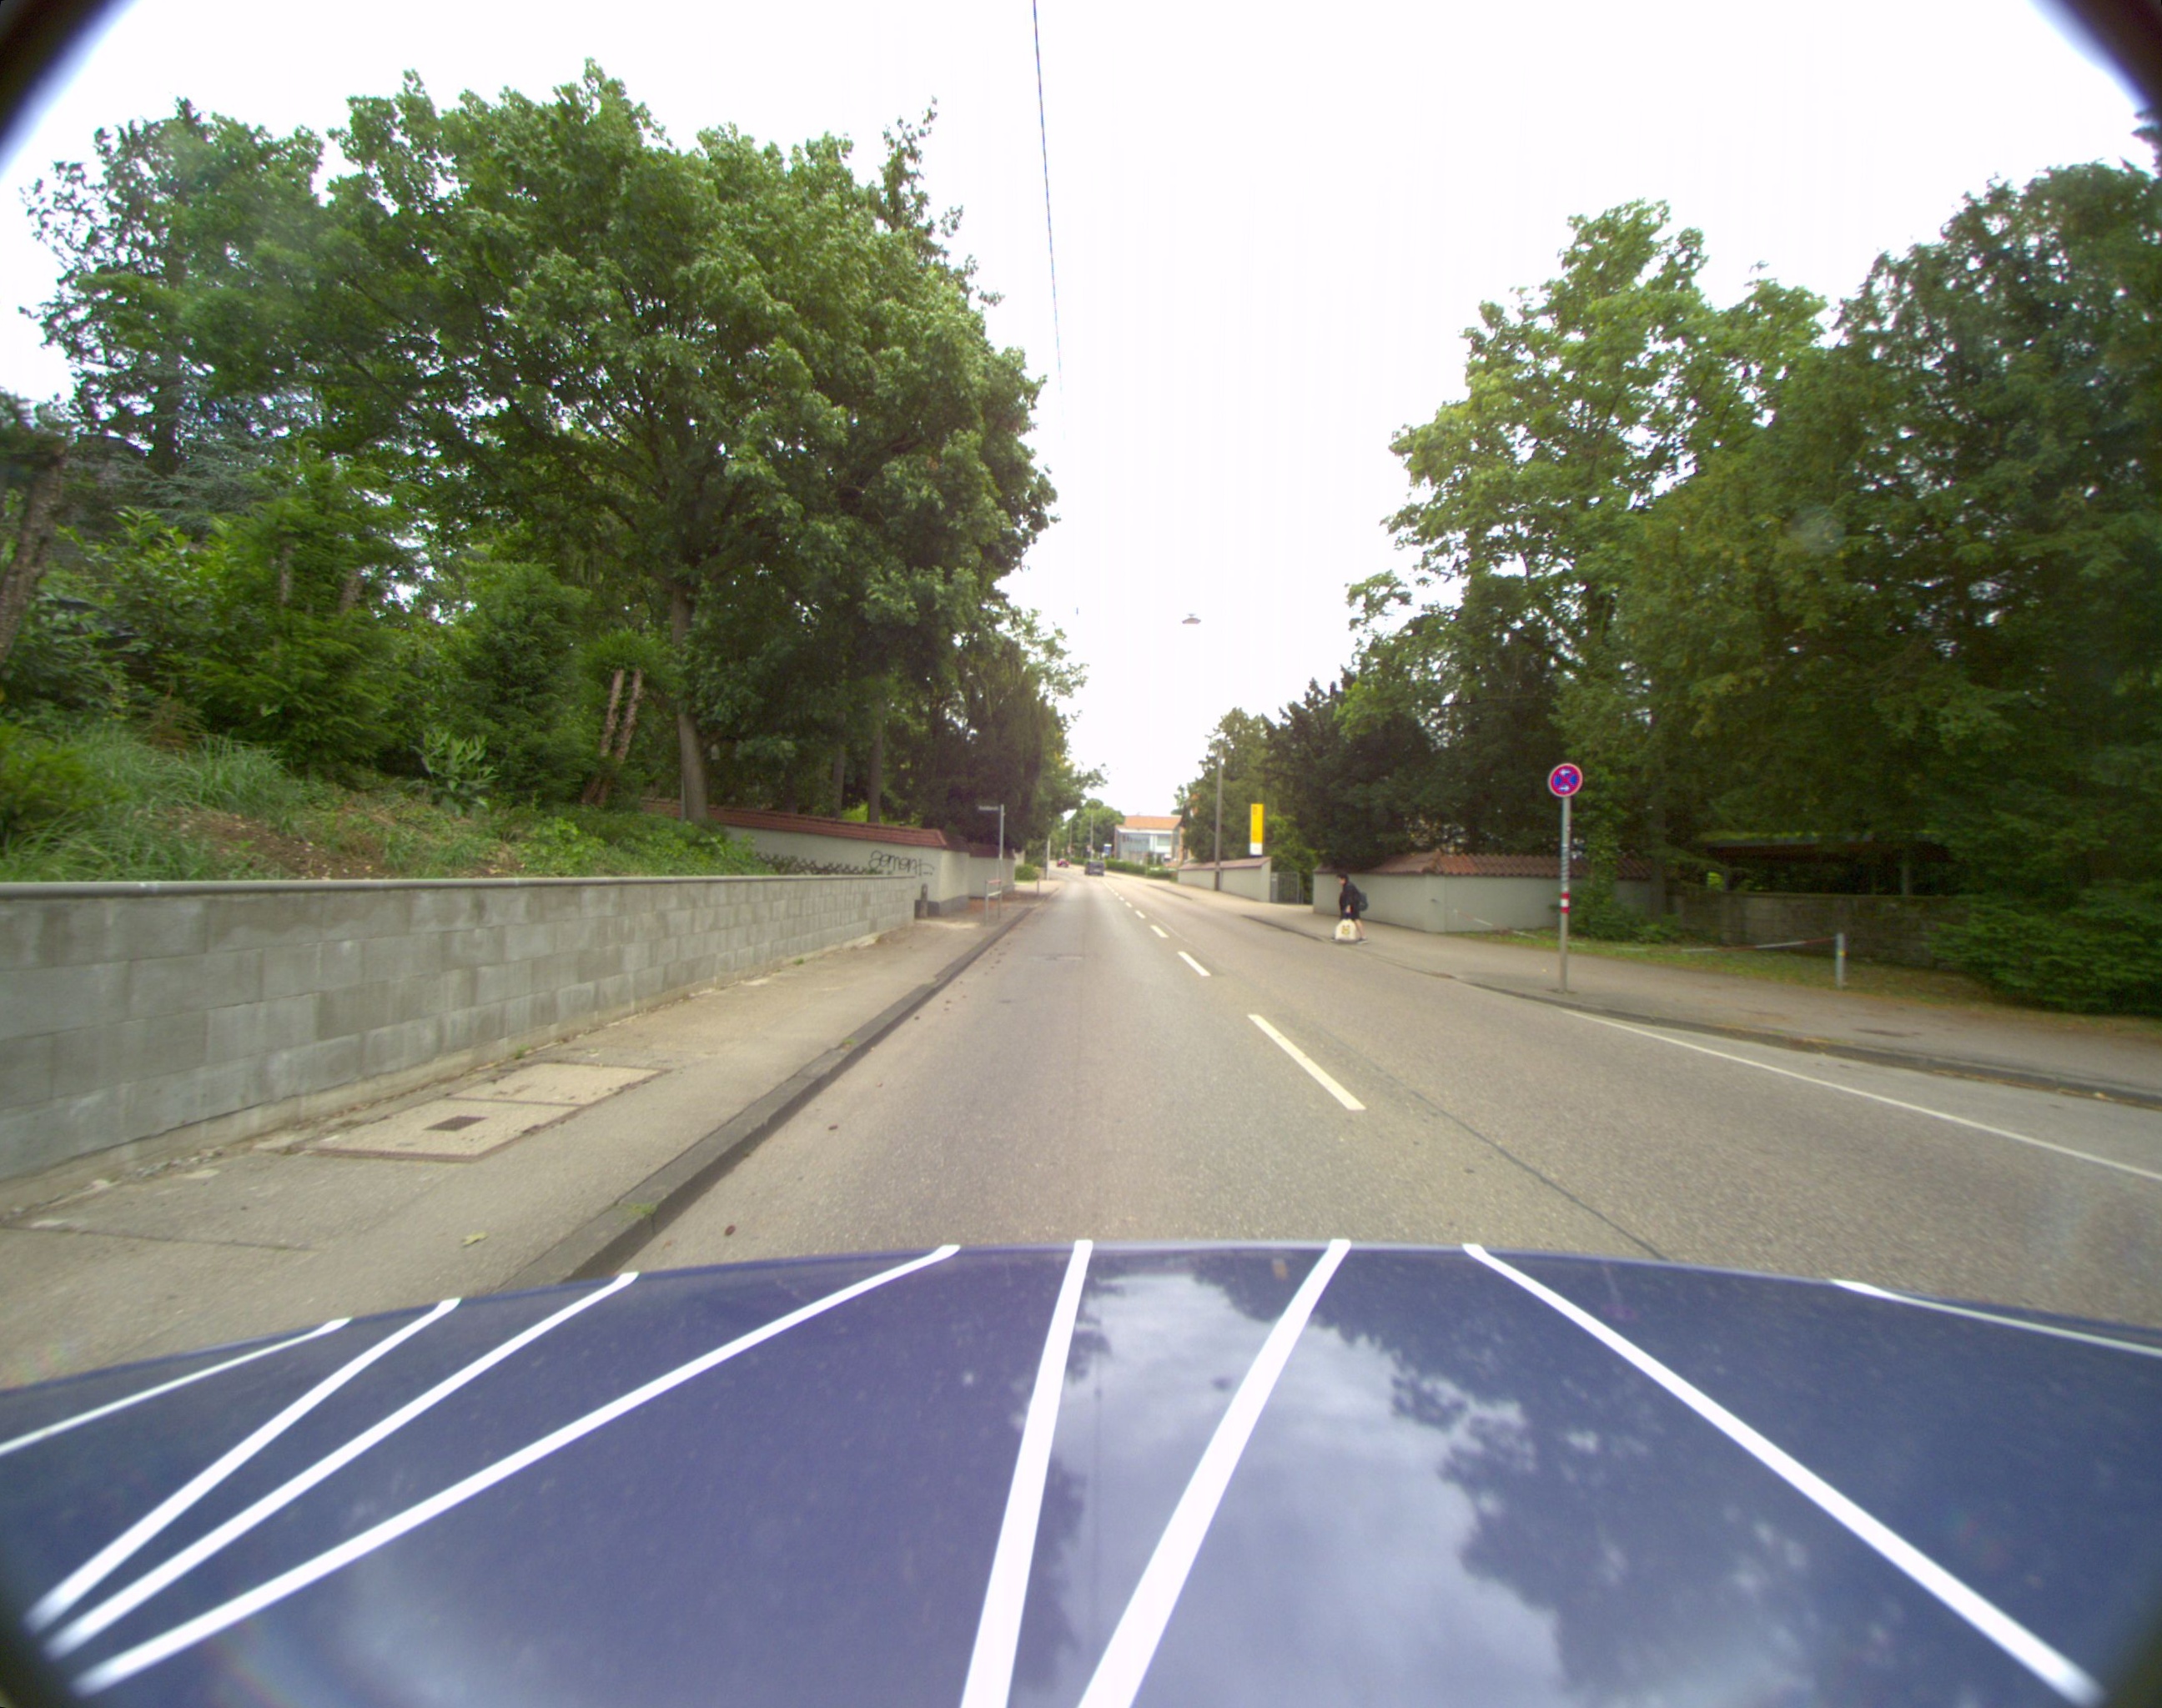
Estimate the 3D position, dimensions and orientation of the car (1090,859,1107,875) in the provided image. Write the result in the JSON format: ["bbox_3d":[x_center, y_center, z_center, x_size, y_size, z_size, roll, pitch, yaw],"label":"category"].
[{"bbox_3d":[2.076,1.558,93.303,1.895,1.844,5.083,1,0,0],"label":"car"}]

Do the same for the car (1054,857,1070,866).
[{"bbox_3d":[-3.277,1.327,131.336,1.792,1.420,3.995,2,0,-15],"label":"car"}]

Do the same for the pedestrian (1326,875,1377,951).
[{"bbox_3d":[5.864,1.252,16.432,0.900,1.551,0.930,0,1,29],"label":"pedestrian"}]
